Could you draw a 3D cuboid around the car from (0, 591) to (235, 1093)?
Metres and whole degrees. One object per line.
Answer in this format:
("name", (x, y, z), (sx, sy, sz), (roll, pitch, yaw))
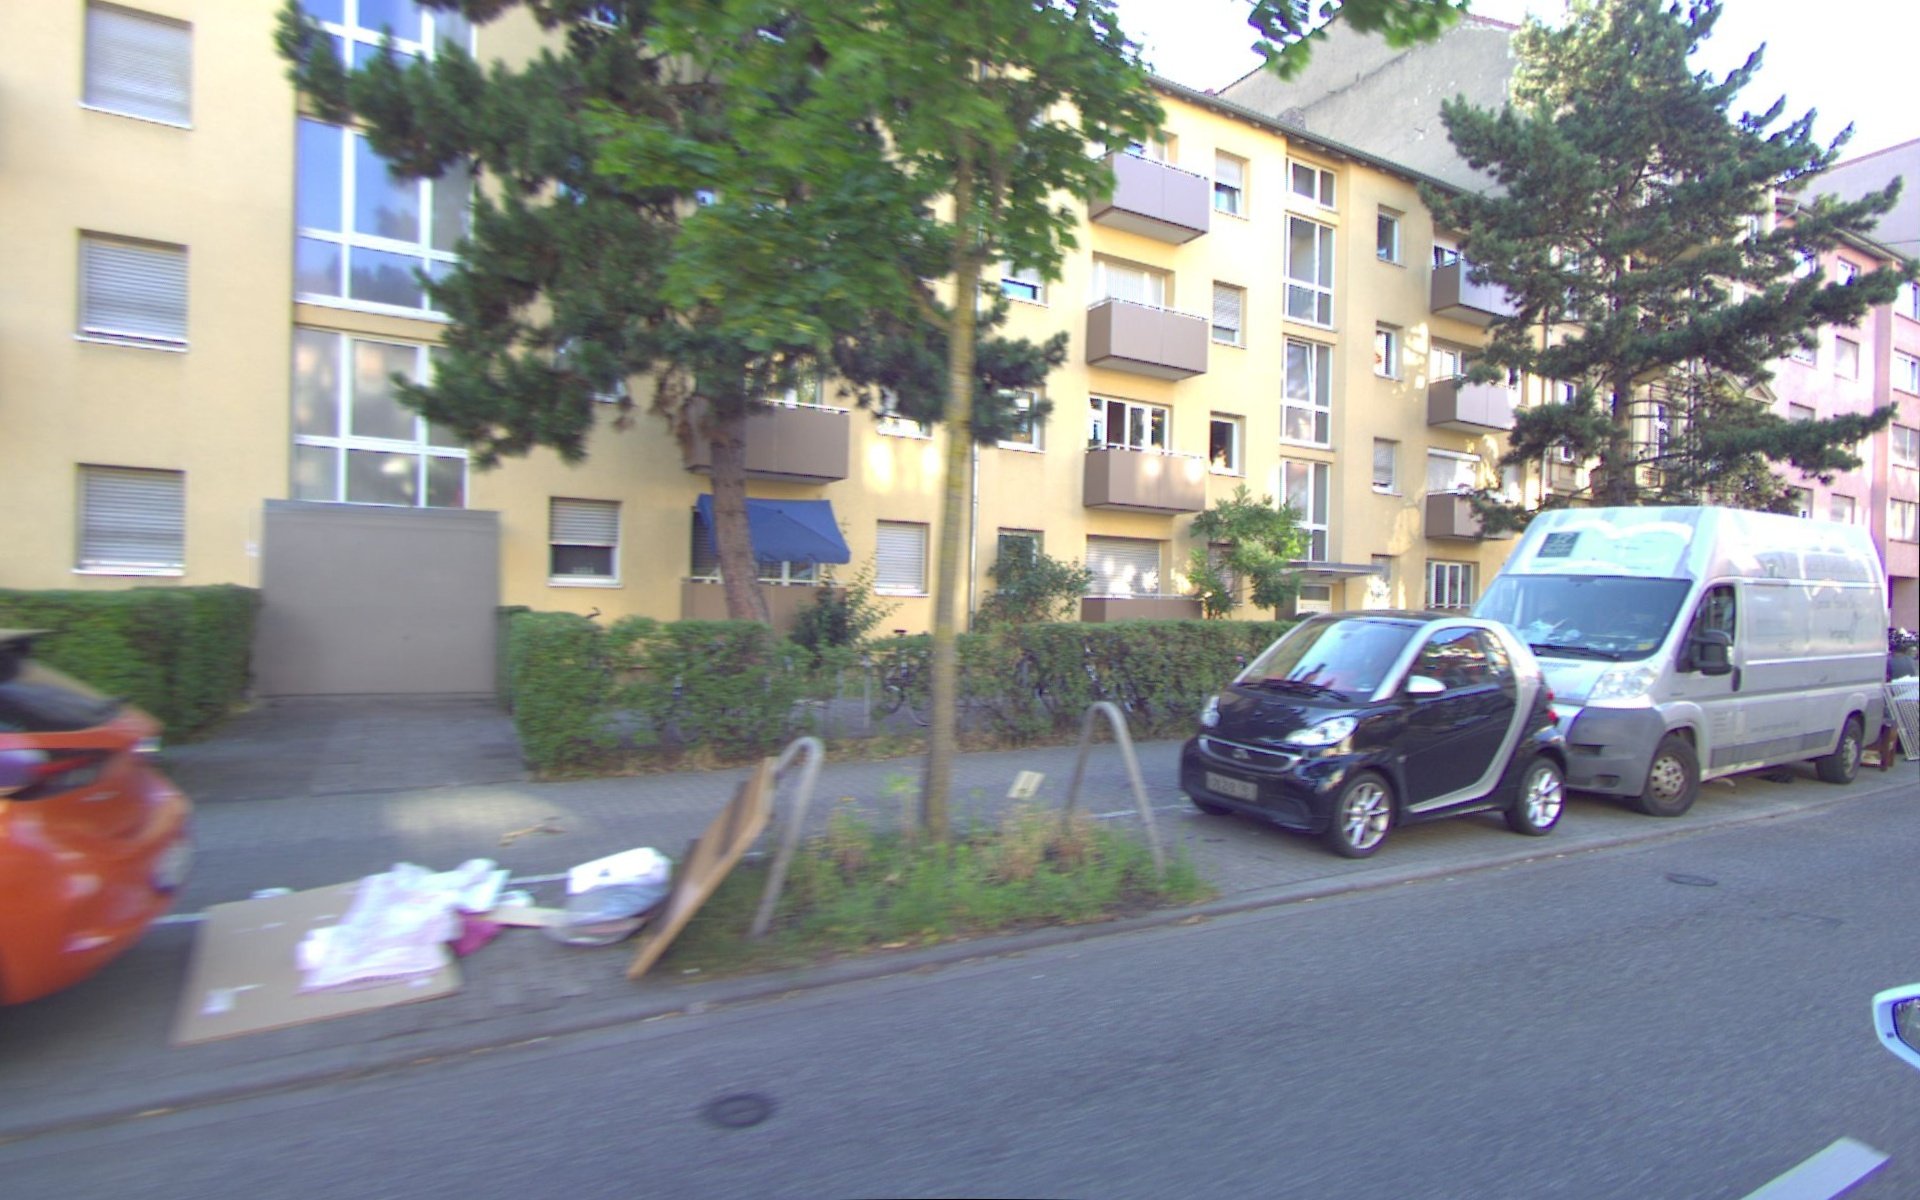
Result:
("car", (-4.631, 0.697, 2.946), (3.877, 1.471, 1.708), (1, 1, -30))

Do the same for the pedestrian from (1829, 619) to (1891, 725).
("pedestrian", (14.695, 1.160, 16.410), (0.690, 1.674, 0.600), (1, 0, -36))

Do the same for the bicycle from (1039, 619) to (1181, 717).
("bicycle", (1.845, 0.813, 12.646), (0.603, 1.108, 1.926), (1, 0, -35))

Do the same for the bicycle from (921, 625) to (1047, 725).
("bicycle", (0.232, 0.833, 11.753), (0.575, 0.938, 1.927), (1, 2, -28))

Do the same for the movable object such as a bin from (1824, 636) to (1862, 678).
("movable object such as a bin", (24.404, 1.571, 27.780), (0.630, 1.098, 0.582), (4, 1, 30))

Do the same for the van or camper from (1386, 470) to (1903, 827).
("van or camper", (7.037, 0.401, 10.058), (5.951, 2.699, 2.024), (2, 2, -33))

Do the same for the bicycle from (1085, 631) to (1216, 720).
("bicycle", (2.431, 0.942, 13.069), (0.575, 0.938, 1.927), (1, 2, -28))

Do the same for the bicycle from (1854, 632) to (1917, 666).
("bicycle", (34.112, 1.799, 37.055), (1.647, 1.175, 0.495), (1, 0, 35))

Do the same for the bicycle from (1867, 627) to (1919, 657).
("bicycle", (35.452, 1.579, 37.981), (0.546, 1.054, 1.653), (2, 1, -43))

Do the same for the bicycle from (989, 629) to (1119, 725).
("bicycle", (1.095, 0.885, 12.176), (0.575, 0.938, 1.927), (1, 2, -28))

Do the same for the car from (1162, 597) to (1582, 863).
("car", (3.026, 0.821, 7.368), (2.728, 1.569, 1.397), (1, 2, -29))

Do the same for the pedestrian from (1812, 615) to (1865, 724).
("pedestrian", (13.999, 1.089, 16.005), (0.718, 1.674, 0.476), (1, 0, -36))

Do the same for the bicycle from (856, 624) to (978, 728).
("bicycle", (-0.533, 0.809, 11.309), (0.575, 0.938, 1.927), (1, 2, -28))

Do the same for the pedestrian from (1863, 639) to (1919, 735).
("pedestrian", (14.245, 1.310, 15.323), (0.476, 1.396, 0.555), (1, 2, -35))

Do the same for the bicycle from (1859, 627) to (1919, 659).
("bicycle", (34.762, 1.595, 37.534), (0.544, 1.054, 1.658), (2, 1, -36))
